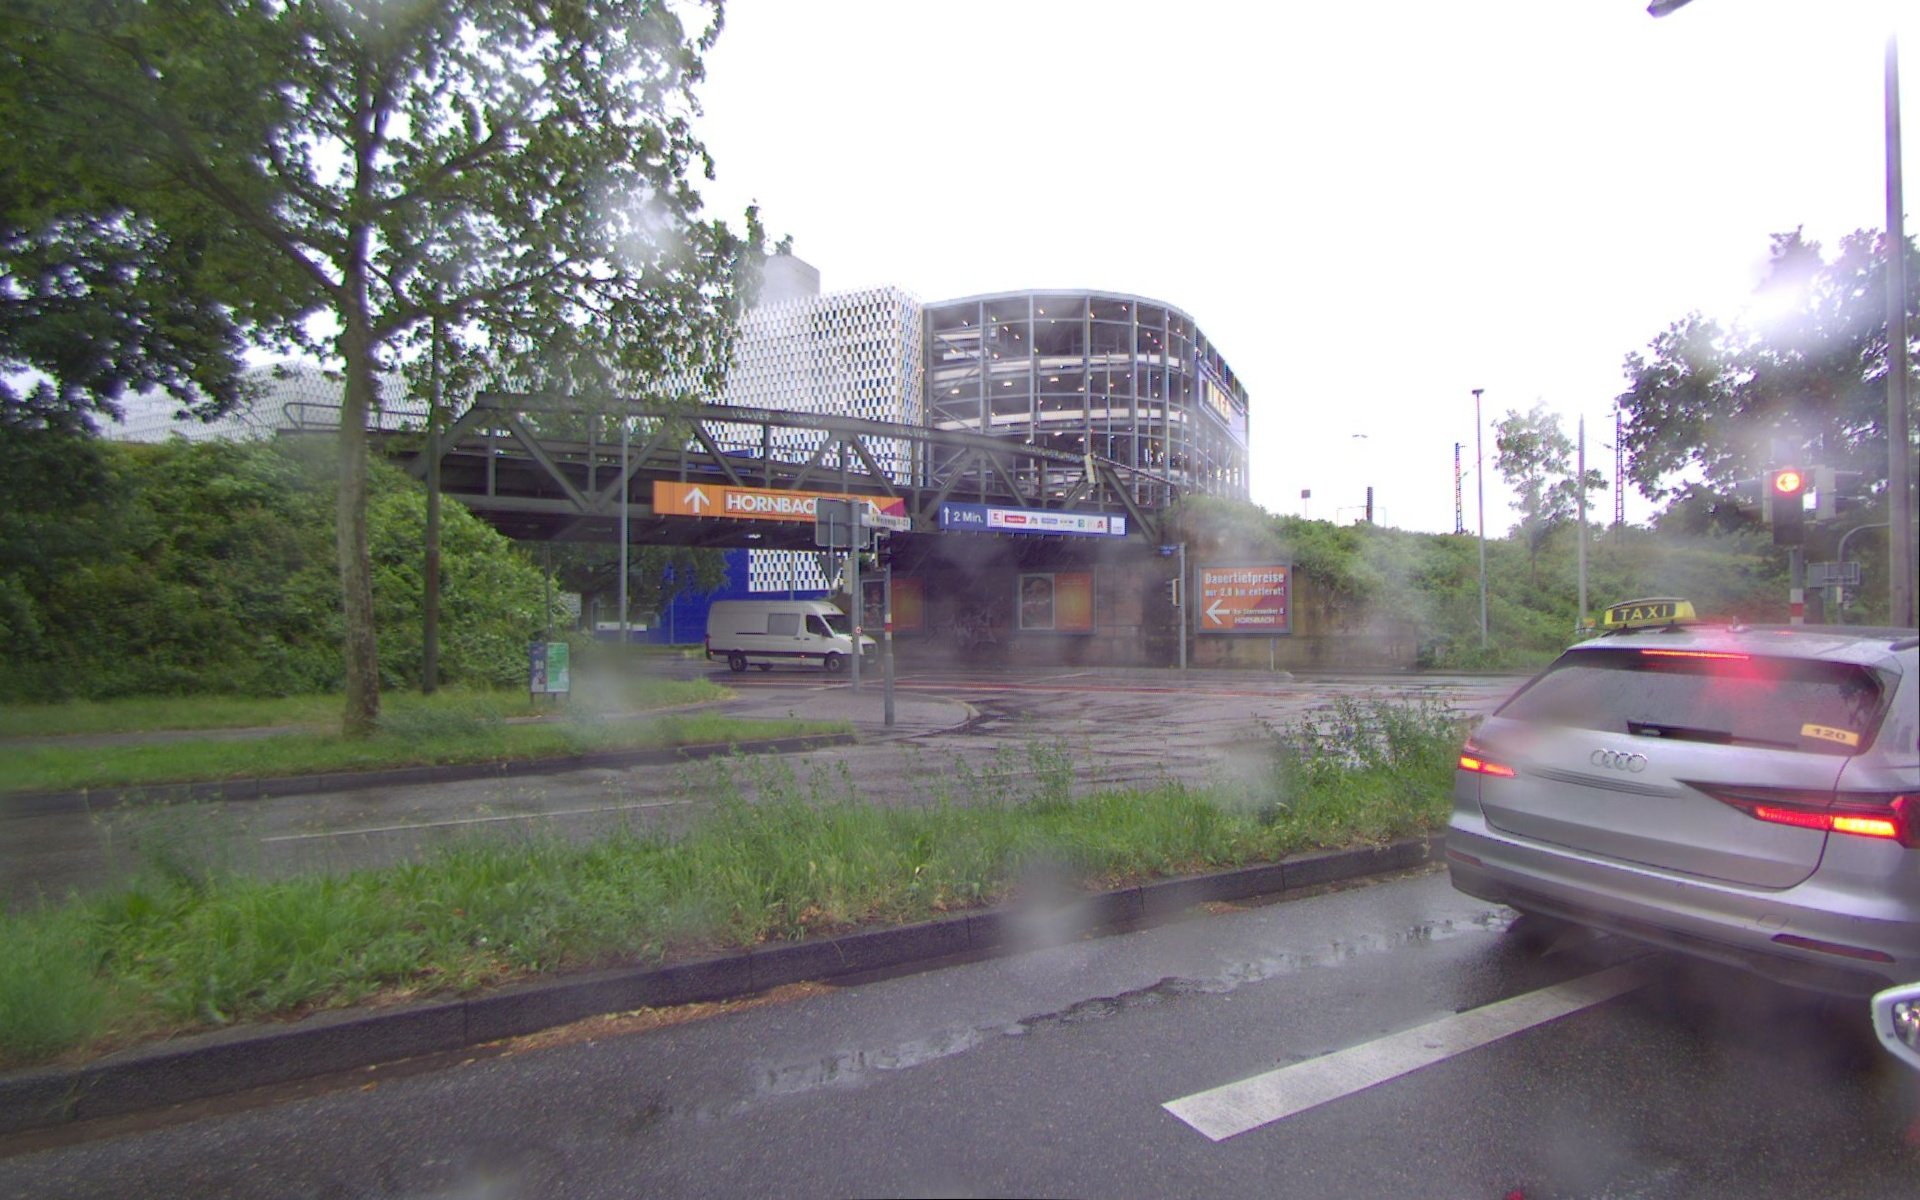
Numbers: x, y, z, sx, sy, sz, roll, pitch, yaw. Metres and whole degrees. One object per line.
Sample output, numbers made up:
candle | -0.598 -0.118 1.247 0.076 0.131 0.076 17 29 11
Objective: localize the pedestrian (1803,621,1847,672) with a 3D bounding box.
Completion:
pedestrian | 32.383 1.732 37.601 1.122 1.871 1.092 2 -2 -41

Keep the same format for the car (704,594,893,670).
car | -6.059 1.205 37.512 6.847 2.645 2.386 -1 -2 25

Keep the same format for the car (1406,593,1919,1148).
car | 4.419 0.812 4.822 4.766 1.595 1.760 1 0 -31
